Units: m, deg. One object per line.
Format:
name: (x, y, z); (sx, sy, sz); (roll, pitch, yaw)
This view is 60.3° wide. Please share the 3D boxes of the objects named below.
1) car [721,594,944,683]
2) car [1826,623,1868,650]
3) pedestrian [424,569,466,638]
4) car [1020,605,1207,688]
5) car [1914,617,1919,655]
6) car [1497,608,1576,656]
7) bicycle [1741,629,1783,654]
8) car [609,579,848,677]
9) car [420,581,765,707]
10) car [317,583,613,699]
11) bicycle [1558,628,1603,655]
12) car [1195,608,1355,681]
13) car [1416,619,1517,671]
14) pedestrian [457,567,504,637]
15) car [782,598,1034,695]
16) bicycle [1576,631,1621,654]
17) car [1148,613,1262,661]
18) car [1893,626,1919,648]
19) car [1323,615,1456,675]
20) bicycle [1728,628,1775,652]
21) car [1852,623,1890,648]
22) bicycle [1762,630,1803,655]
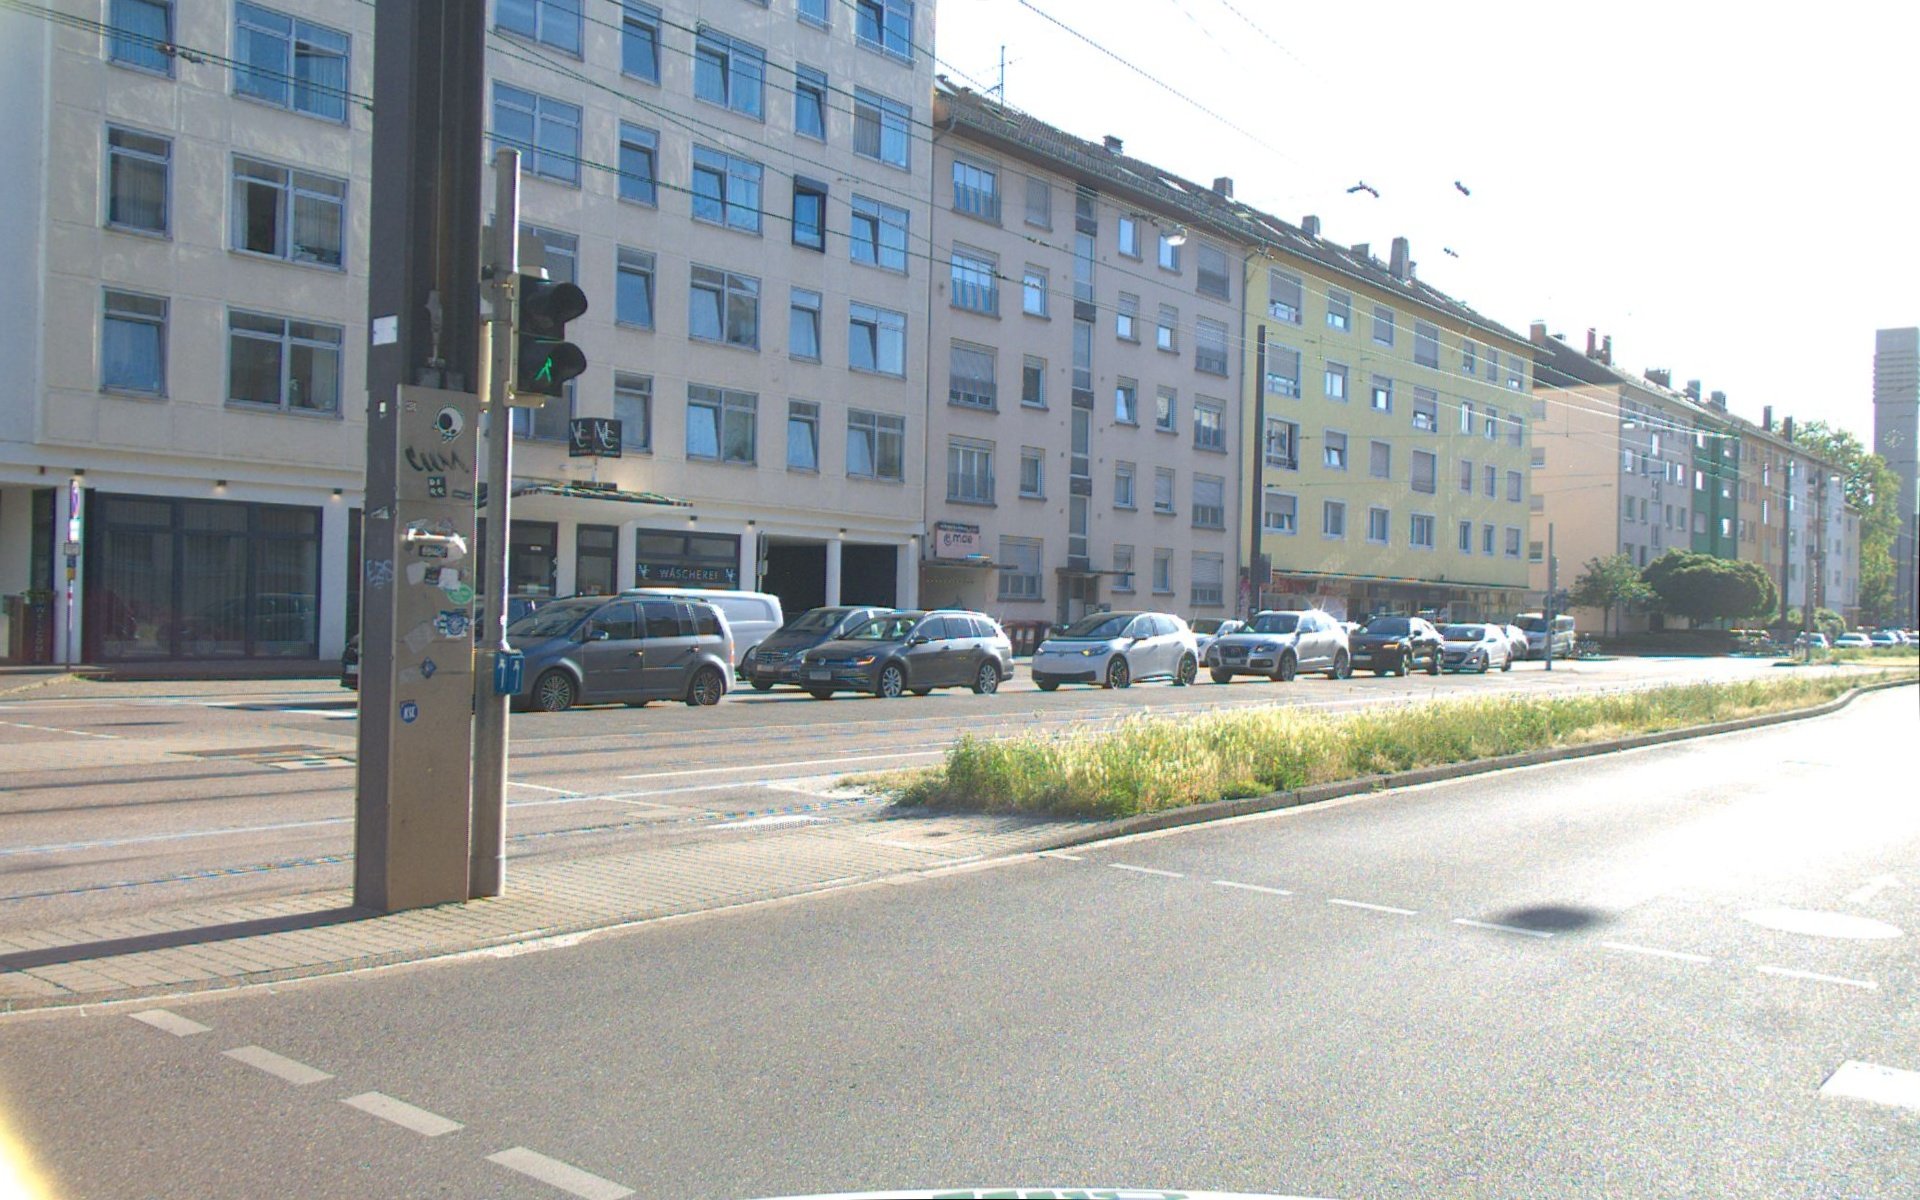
car: (-2.400, 0.765, 32.106); (1.950, 1.603, 4.304); (0, -2, 37)
car: (60.116, 2.482, 112.045); (1.961, 1.609, 3.983); (1, -3, 36)
pedestrian: (-10.660, 0.074, 34.229); (0.489, 1.400, 0.602); (1, -3, 24)
car: (3.146, 0.944, 33.235); (1.808, 1.542, 4.226); (0, -2, 36)
car: (87.585, 3.310, 148.092); (2.936, 3.295, 6.765); (1, -3, 36)
car: (26.830, 1.497, 76.849); (1.971, 2.143, 5.282); (1, -1, 37)
bicycle: (46.366, 2.384, 95.649); (2.090, 1.348, 0.894); (1, -3, 33)
car: (-4.995, 0.615, 36.391); (1.912, 1.901, 5.301); (4, 1, 38)
car: (-4.996, 0.621, 23.006); (1.901, 1.575, 4.429); (0, -2, 40)
car: (-7.424, 0.635, 25.118); (1.760, 1.603, 4.028); (0, -2, 37)
bicycle: (30.011, 2.025, 80.038); (1.922, 1.227, 0.697); (2, -2, 12)
car: (7.449, 1.018, 38.743); (1.834, 1.605, 4.610); (-1, -2, 37)
car: (15.438, 1.388, 50.266); (1.791, 1.471, 4.271); (1, -2, 34)
pedestrian: (-9.831, 0.042, 33.929); (0.668, 1.400, 0.529); (1, -2, 17)
car: (-0.808, 0.809, 28.503); (1.790, 1.517, 4.516); (0, -2, 40)
bicycle: (31.465, 2.107, 81.501); (2.033, 1.040, 0.803); (1, -2, 26)
car: (7.789, 1.182, 52.292); (1.749, 1.460, 4.034); (0, -1, 39)
car: (75.651, 2.950, 131.573); (1.961, 1.581, 3.983); (1, -3, 36)
car: (11.668, 1.242, 44.714); (1.930, 1.506, 4.550); (0, -2, 37)
bicycle: (45.105, 2.281, 94.247); (2.270, 1.328, 0.910); (1, -3, 36)
car: (66.266, 2.585, 120.278); (1.961, 1.581, 3.983); (1, -3, 36)
bicycle: (48.240, 2.490, 97.033); (2.084, 1.348, 0.896); (1, -2, 22)
